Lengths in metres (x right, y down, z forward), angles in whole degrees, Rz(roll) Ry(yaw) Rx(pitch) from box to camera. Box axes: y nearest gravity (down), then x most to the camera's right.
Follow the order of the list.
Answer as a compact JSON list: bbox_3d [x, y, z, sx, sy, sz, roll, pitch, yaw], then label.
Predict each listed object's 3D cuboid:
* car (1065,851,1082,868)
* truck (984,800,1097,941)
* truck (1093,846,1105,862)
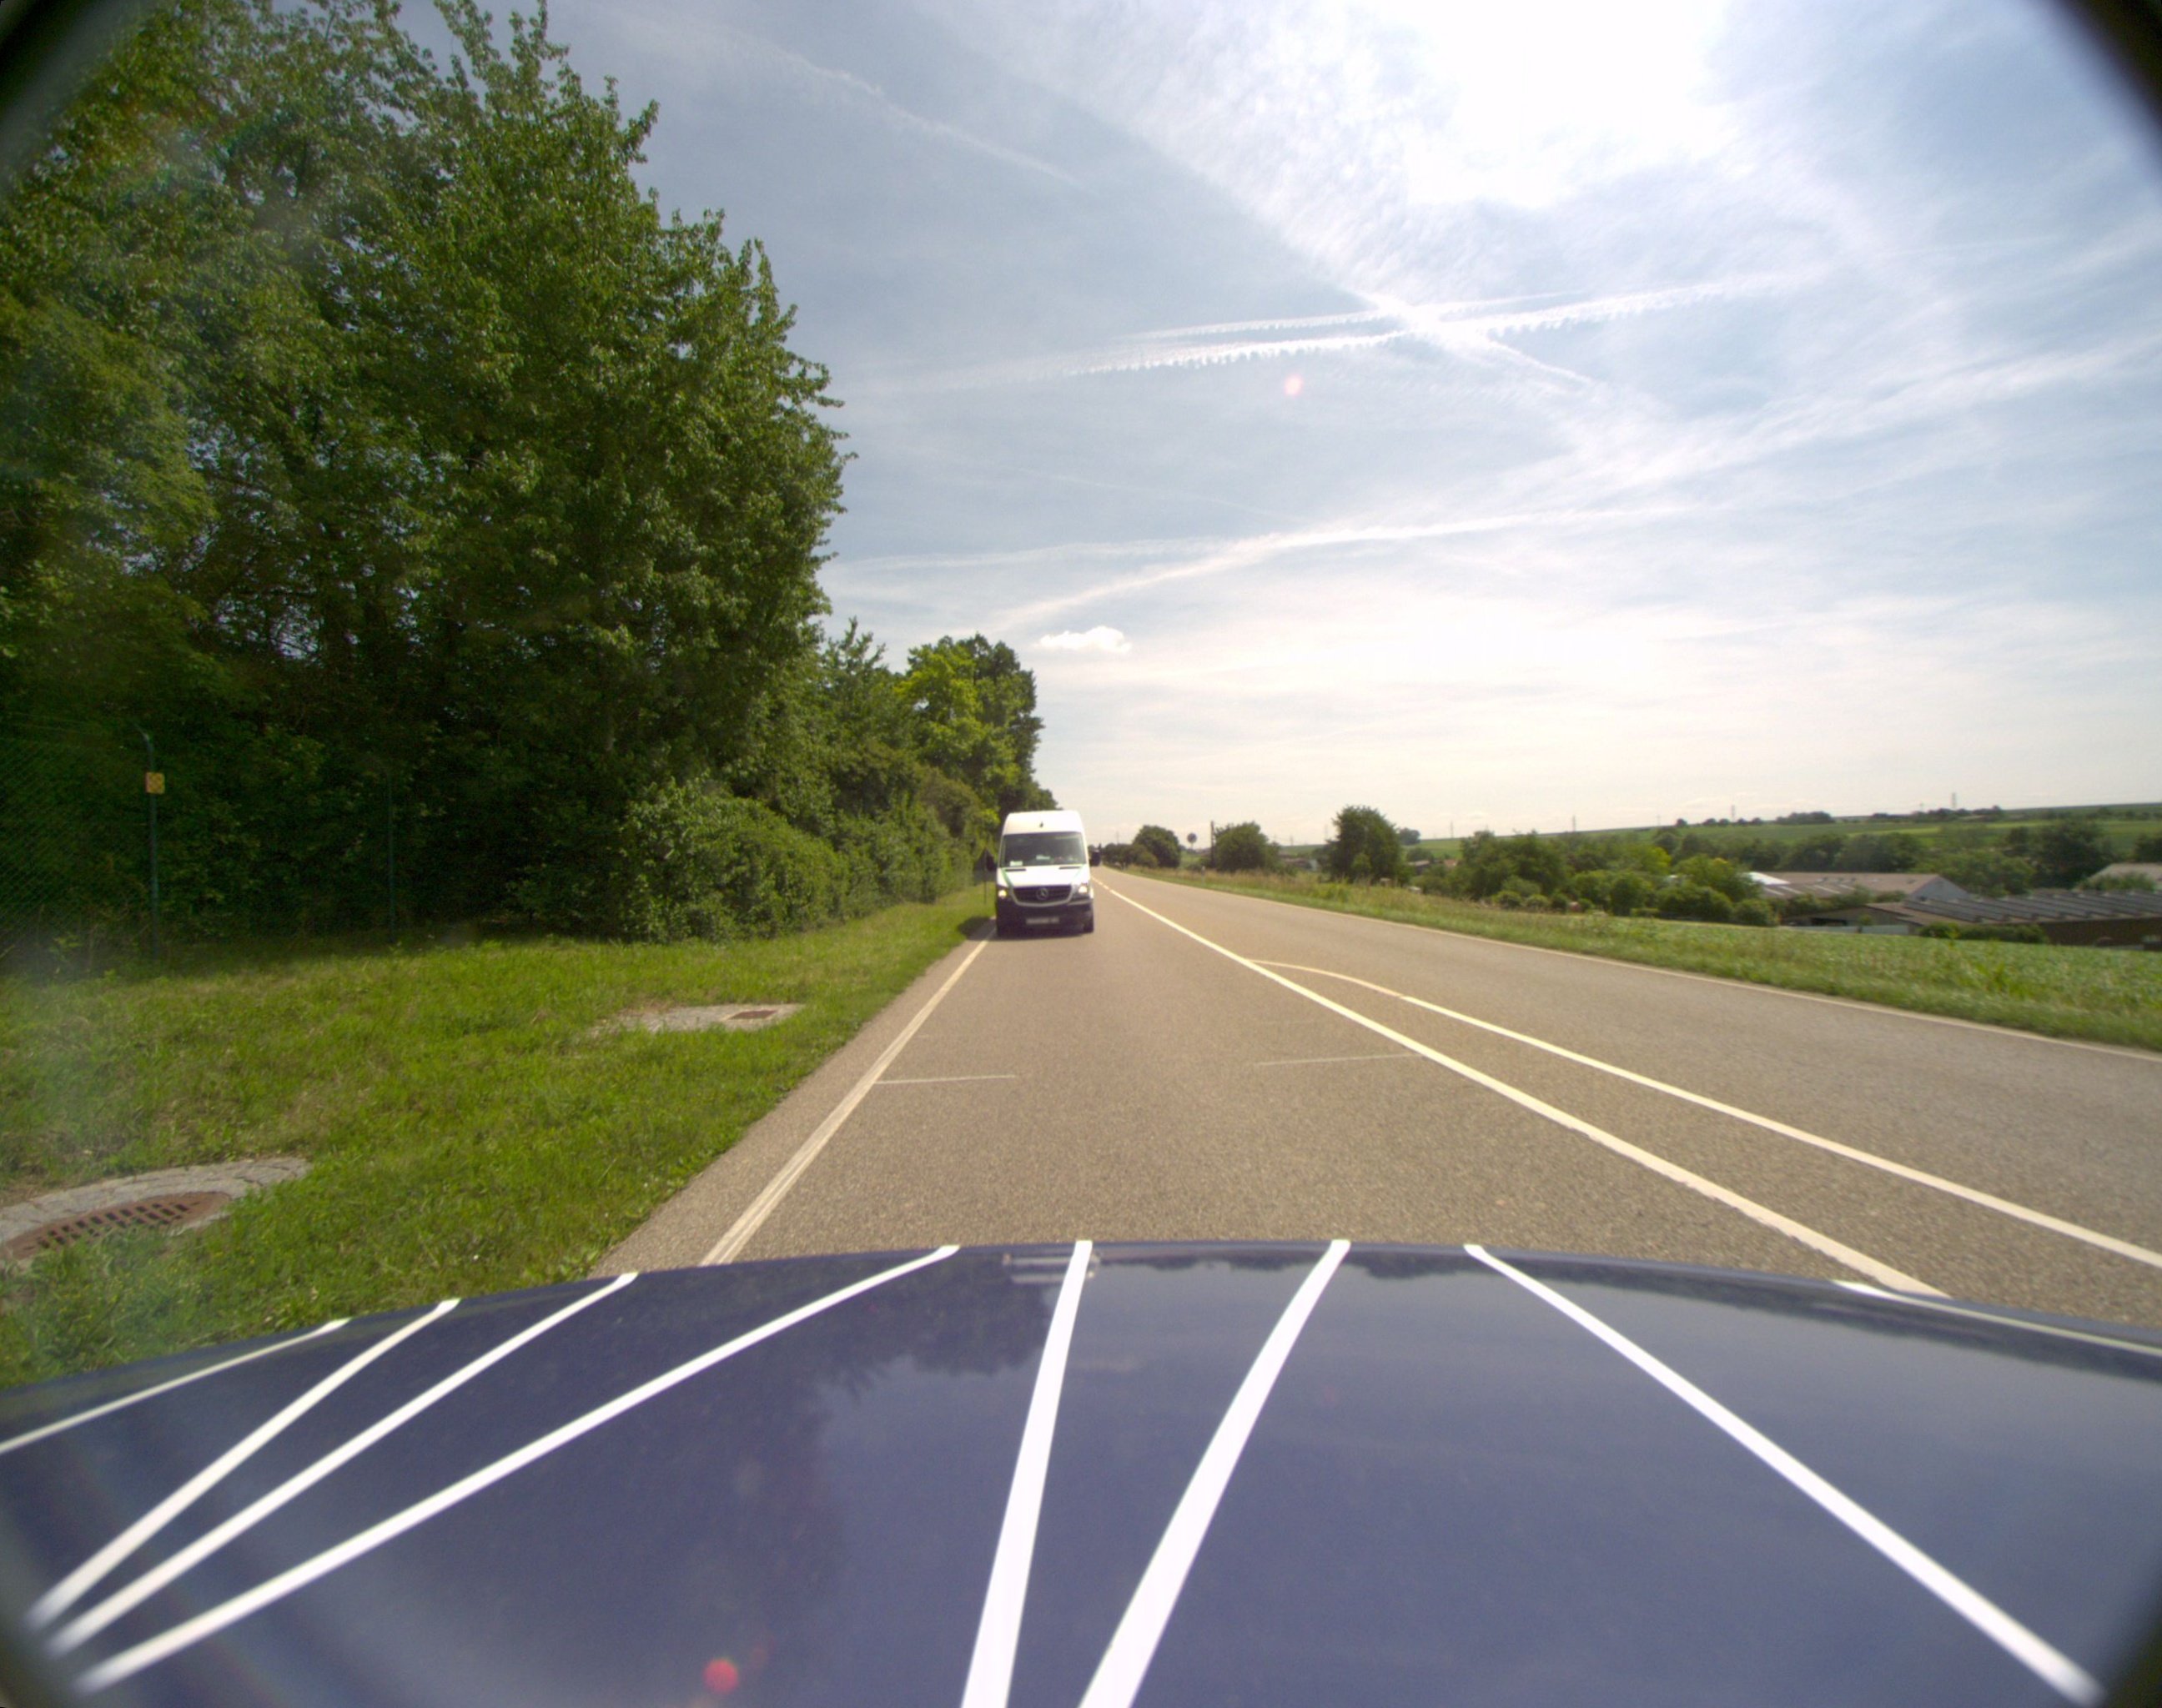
[{"bbox_3d":[-0.960,0.722,95.555,1.999,2.002,3.999,2,0,-2],"label":"car"},{"bbox_3d":[-0.686,0.302,17.874,2.023,2.567,7.225,-2,0,1],"label":"truck"},{"bbox_3d":[4.071,0.061,173.060,2.763,3.555,11.066,1,0,1],"label":"truck"}]
